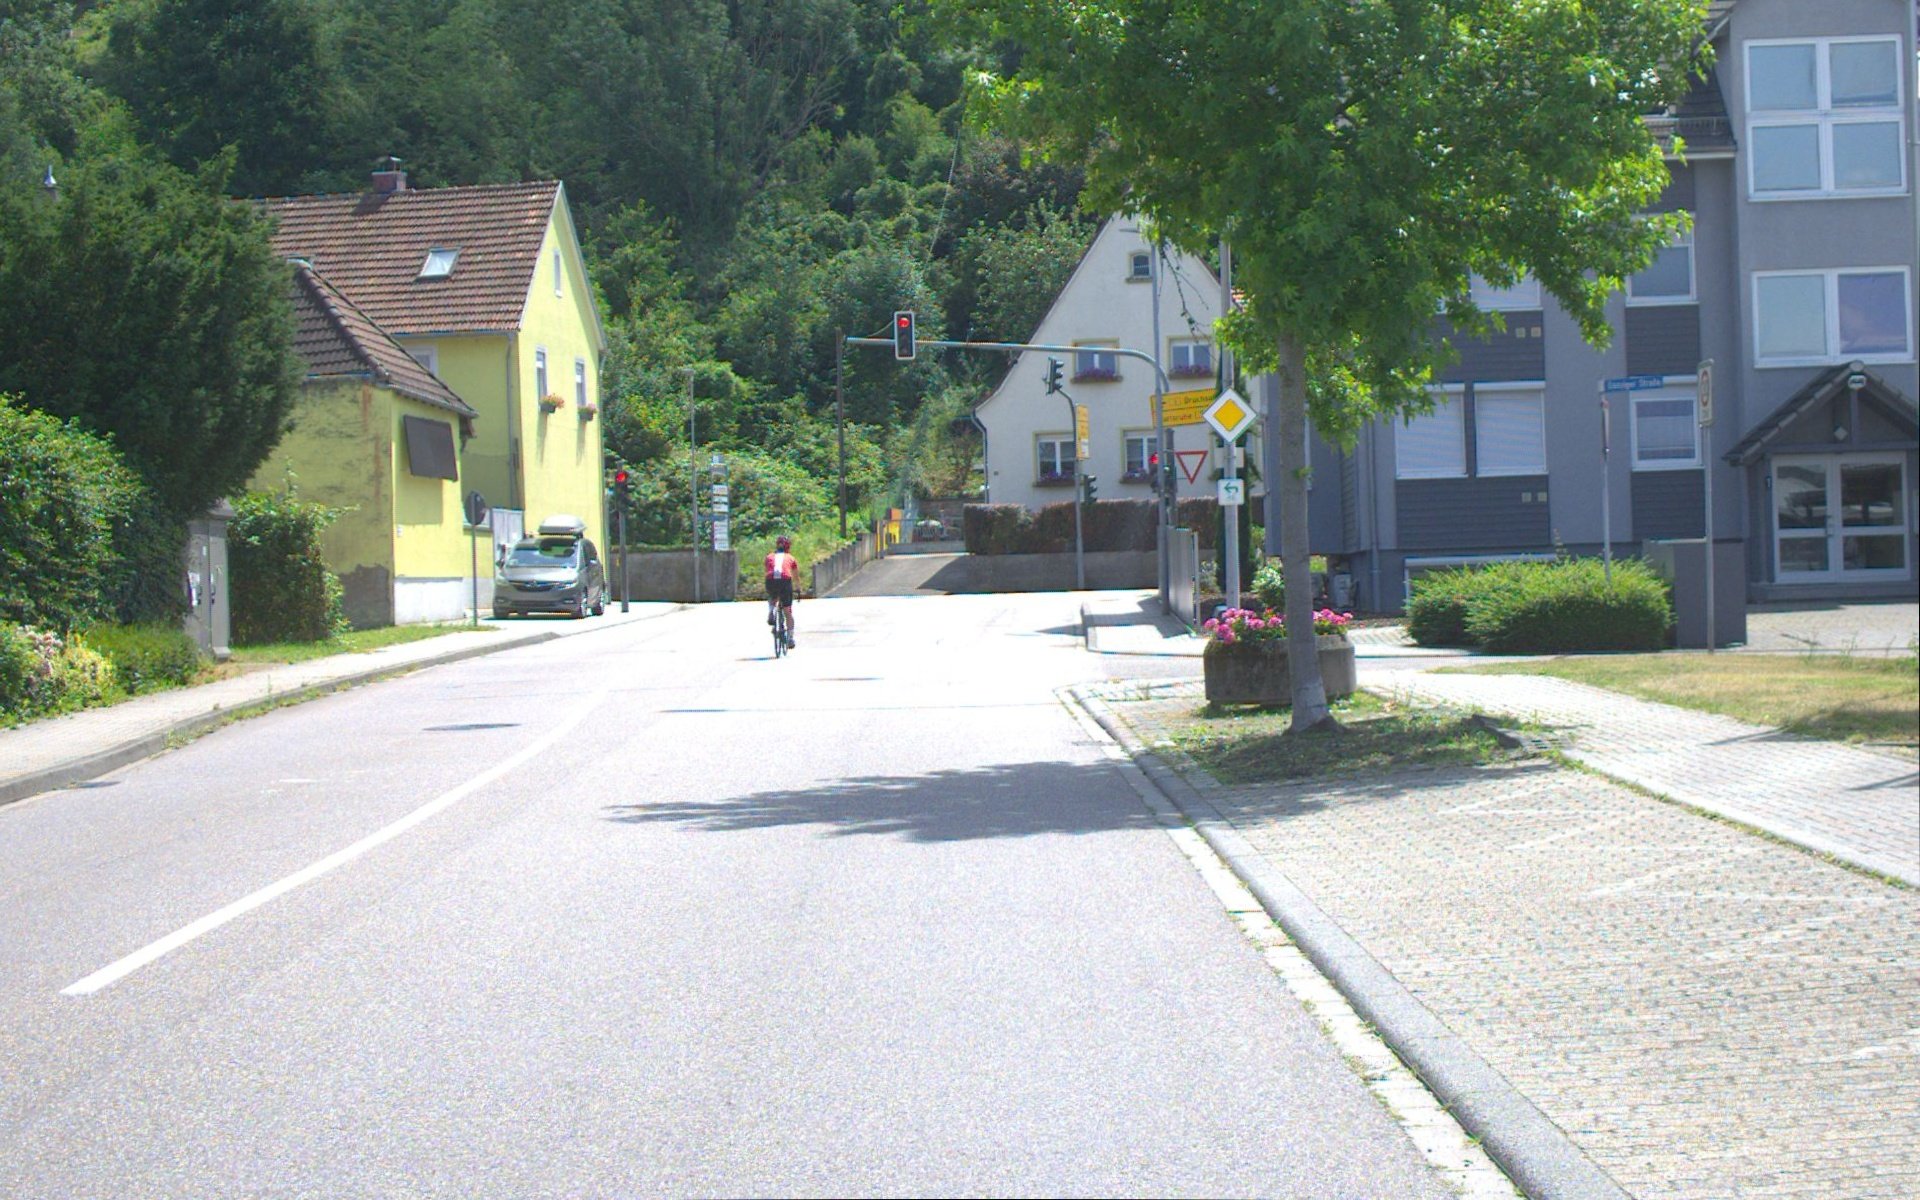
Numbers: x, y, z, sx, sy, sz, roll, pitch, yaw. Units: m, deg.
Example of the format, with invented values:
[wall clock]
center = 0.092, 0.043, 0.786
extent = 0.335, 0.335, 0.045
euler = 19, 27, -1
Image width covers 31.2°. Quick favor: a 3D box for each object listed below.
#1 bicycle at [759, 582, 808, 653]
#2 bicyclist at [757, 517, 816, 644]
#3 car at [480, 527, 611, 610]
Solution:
[bicycle]
center = -2.333, 0.223, 45.549
extent = 0.630, 0.902, 1.657
euler = 0, 1, -2
[bicyclist]
center = -2.286, -0.260, 45.435
extent = 0.760, 1.659, 0.869
euler = 0, 1, -2
[car]
center = -8.443, -0.674, 70.411
extent = 1.993, 1.630, 4.630
euler = 0, 1, 2
